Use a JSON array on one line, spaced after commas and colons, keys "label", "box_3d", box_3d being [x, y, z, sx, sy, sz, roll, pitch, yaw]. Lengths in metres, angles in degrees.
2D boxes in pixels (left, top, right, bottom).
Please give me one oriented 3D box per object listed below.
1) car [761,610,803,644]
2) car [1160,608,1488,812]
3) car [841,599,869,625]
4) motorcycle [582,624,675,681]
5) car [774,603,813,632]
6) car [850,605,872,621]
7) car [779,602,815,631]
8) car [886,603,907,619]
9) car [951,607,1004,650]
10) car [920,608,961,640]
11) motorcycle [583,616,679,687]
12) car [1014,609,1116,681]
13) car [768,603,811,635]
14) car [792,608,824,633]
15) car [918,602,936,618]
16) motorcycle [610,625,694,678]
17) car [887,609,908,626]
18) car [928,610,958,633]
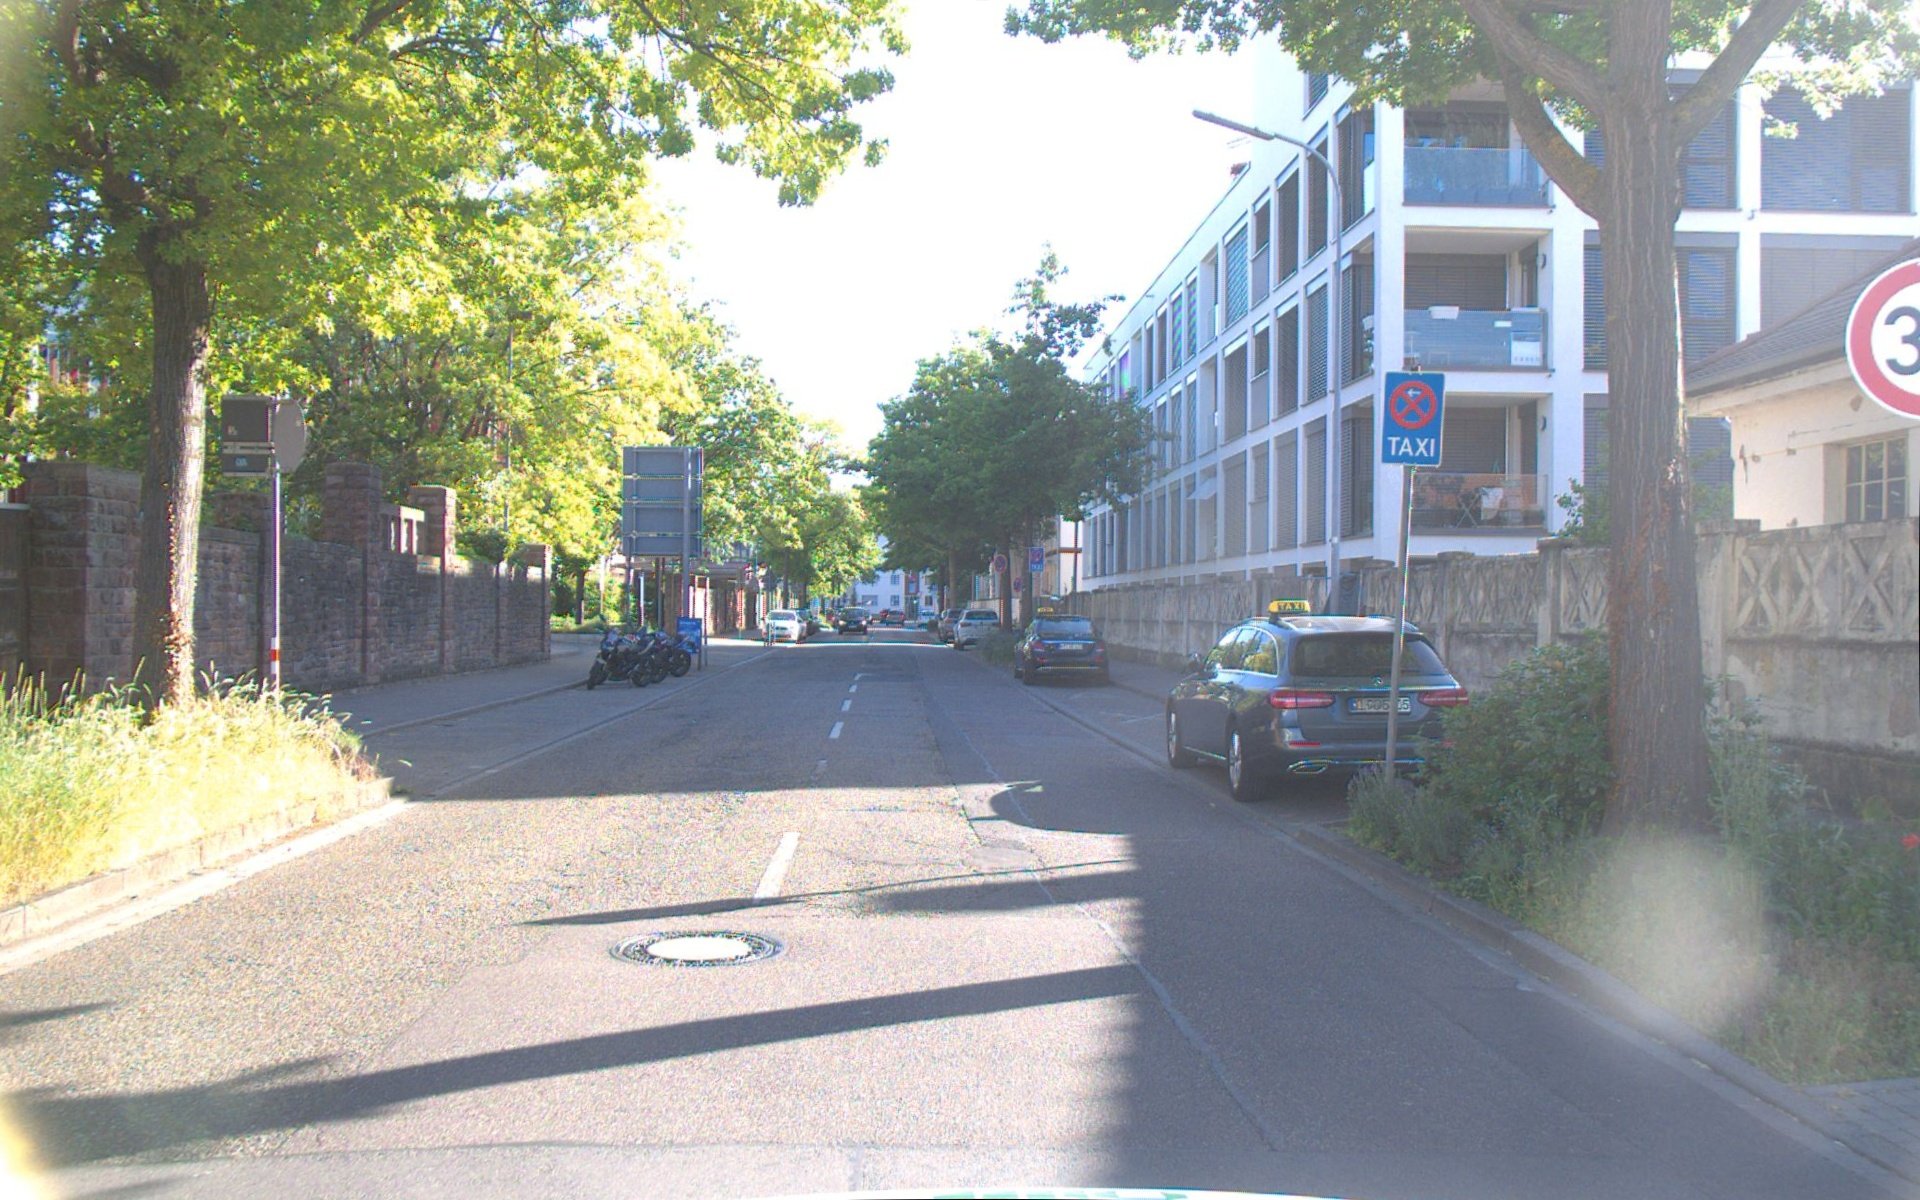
[{"label": "car", "box_3d": [-8.208, 1.235, 76.529, 1.732, 1.513, 3.997, 0, 0, -4]}, {"label": "car", "box_3d": [3.027, 0.844, 14.810, 1.669, 1.494, 4.786, 1, 0, -3]}, {"label": "car", "box_3d": [-6.374, 0.736, 100.848, 1.620, 1.557, 3.998, 0, 0, -3]}, {"label": "motorcycle", "box_3d": [-6.665, 1.039, 33.363, 0.565, 1.093, 2.117, 0, 0, 30]}, {"label": "car", "box_3d": [-9.095, 0.925, 90.522, 1.869, 1.557, 3.998, 0, 0, -3]}, {"label": "car", "box_3d": [-9.549, 1.230, 159.560, 1.953, 1.478, 3.999, 0, 0, -1]}, {"label": "car", "box_3d": [-9.305, 0.928, 94.657, 1.869, 1.557, 3.998, 0, 0, -3]}, {"label": "car", "box_3d": [-5.838, 1.023, 153.066, 1.851, 1.424, 3.835, 1, 0, -2]}, {"label": "car", "box_3d": [0.651, 1.084, 64.891, 1.911, 1.606, 3.835, 0, 0, -2]}, {"label": "car", "box_3d": [-0.964, 1.142, 80.582, 1.953, 1.491, 3.835, 0, 0, -2]}, {"label": "motorcycle", "box_3d": [-6.381, 0.977, 32.172, 0.565, 1.298, 2.117, 0, 0, 30]}, {"label": "car", "box_3d": [2.232, 0.941, 36.172, 1.732, 1.465, 3.997, 0, 0, -4]}, {"label": "car", "box_3d": [-8.489, 0.925, 82.515, 1.869, 1.557, 3.998, 0, 0, -3]}, {"label": "car", "box_3d": [-9.900, 1.328, 107.698, 1.869, 1.557, 3.998, 1, 0, -3]}, {"label": "car", "box_3d": [-2.910, 0.869, 145.789, 1.553, 1.424, 3.835, 0, 0, -2]}, {"label": "motorcycle", "box_3d": [-6.727, 1.103, 36.195, 0.565, 1.093, 2.117, 0, 0, 30]}, {"label": "car", "box_3d": [-5.773, 1.601, 152.936, 1.733, 1.575, 4.061, 0, 0, -5]}, {"label": "car", "box_3d": [-1.188, 1.428, 111.601, 1.953, 1.450, 3.835, 0, 0, -2]}]
